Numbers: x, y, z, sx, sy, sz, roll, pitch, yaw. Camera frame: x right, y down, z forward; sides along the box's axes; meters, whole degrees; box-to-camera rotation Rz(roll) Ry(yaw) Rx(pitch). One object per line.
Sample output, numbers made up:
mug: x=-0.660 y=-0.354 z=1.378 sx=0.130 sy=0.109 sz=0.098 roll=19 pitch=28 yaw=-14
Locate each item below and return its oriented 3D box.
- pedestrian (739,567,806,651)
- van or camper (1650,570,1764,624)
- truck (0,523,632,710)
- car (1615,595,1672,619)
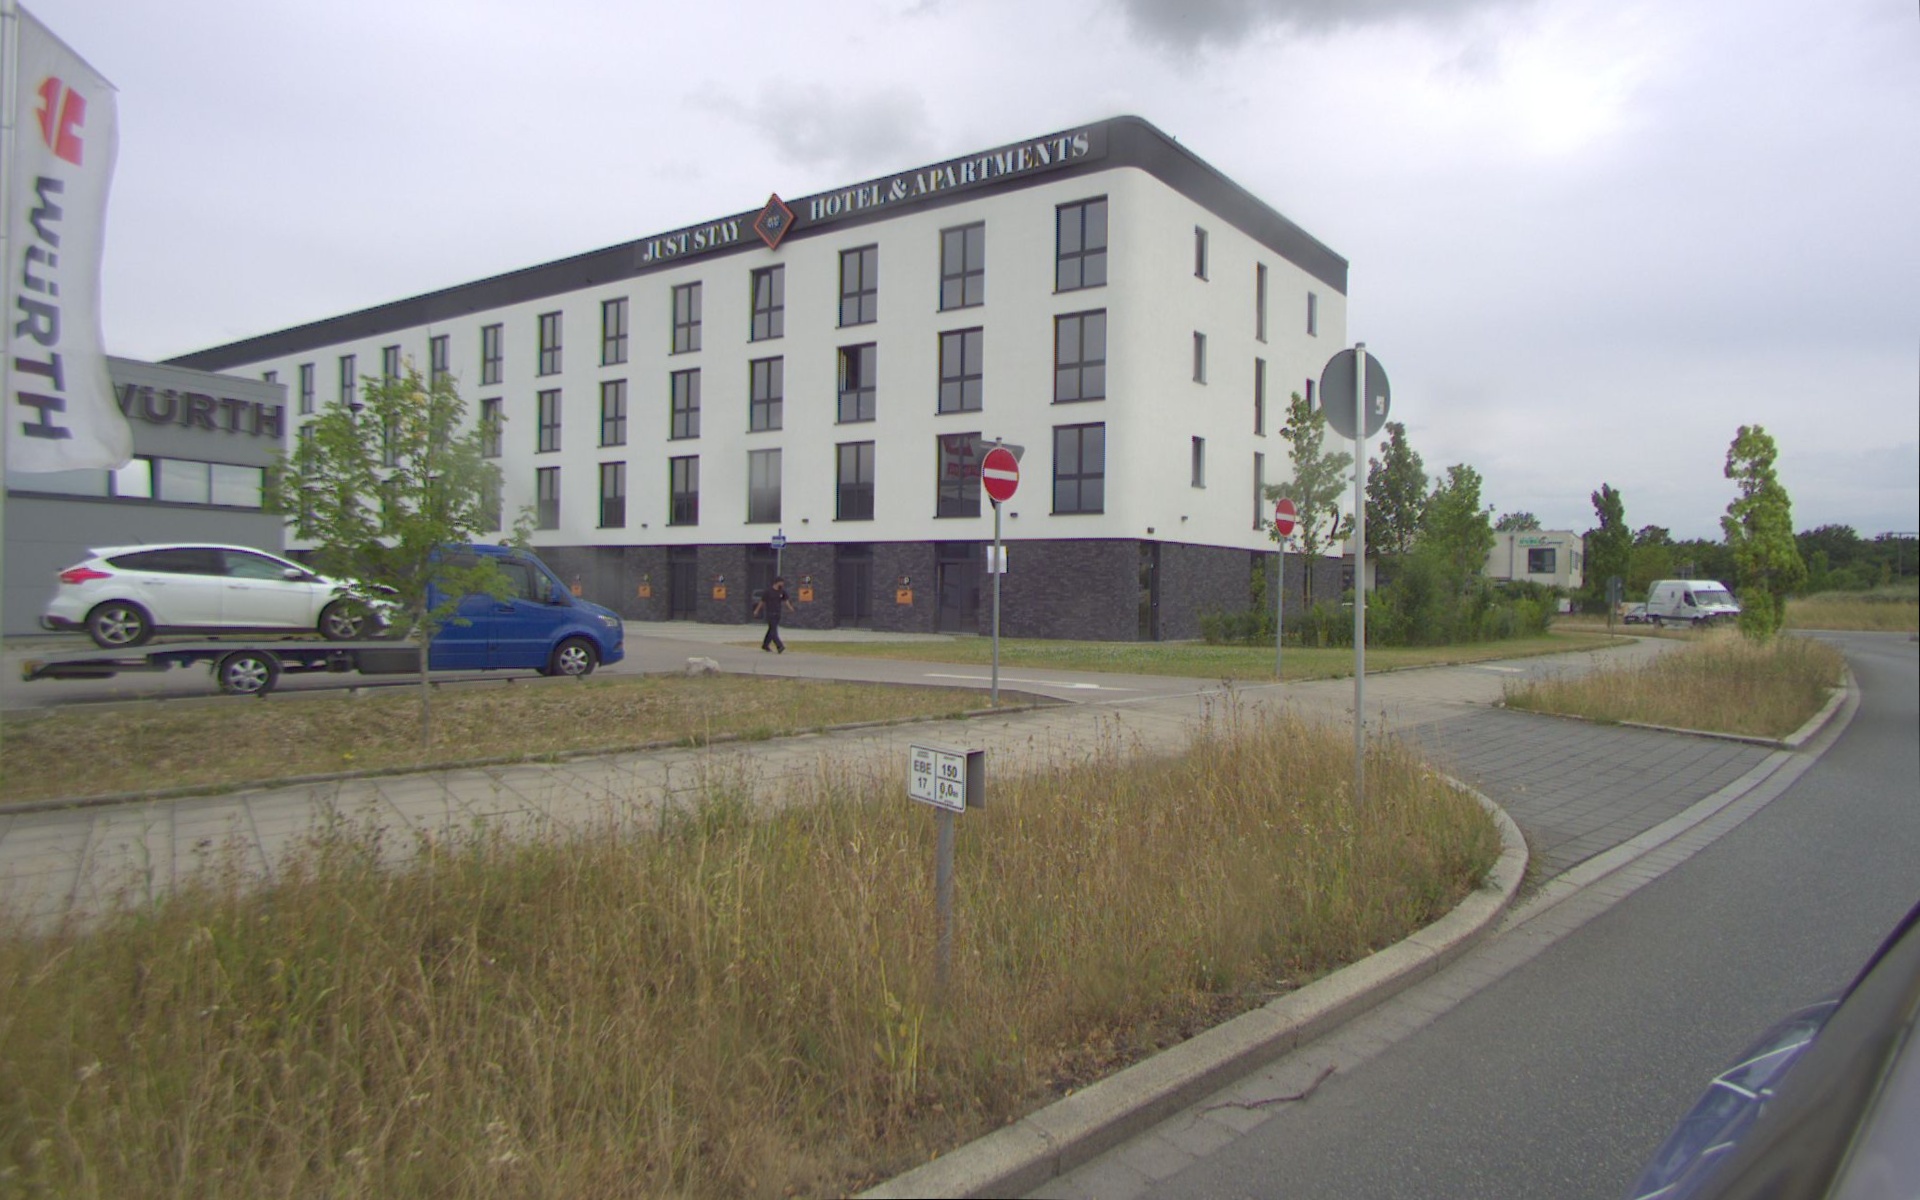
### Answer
pedestrian: x=-4.385 y=0.175 z=23.672 sx=1.057 sy=1.880 sz=1.192 roll=-2 pitch=2 yaw=-44
van or camper: x=38.553 y=-0.196 z=52.463 sx=2.227 sy=2.649 sz=5.685 roll=1 pitch=1 yaw=8
truck: x=-9.545 y=0.172 z=15.922 sx=8.059 sy=2.355 sz=2.234 roll=0 pitch=1 yaw=-35
car: x=47.663 y=0.477 z=70.565 sx=3.923 sy=1.605 sz=2.001 roll=-1 pitch=0 yaw=-34
